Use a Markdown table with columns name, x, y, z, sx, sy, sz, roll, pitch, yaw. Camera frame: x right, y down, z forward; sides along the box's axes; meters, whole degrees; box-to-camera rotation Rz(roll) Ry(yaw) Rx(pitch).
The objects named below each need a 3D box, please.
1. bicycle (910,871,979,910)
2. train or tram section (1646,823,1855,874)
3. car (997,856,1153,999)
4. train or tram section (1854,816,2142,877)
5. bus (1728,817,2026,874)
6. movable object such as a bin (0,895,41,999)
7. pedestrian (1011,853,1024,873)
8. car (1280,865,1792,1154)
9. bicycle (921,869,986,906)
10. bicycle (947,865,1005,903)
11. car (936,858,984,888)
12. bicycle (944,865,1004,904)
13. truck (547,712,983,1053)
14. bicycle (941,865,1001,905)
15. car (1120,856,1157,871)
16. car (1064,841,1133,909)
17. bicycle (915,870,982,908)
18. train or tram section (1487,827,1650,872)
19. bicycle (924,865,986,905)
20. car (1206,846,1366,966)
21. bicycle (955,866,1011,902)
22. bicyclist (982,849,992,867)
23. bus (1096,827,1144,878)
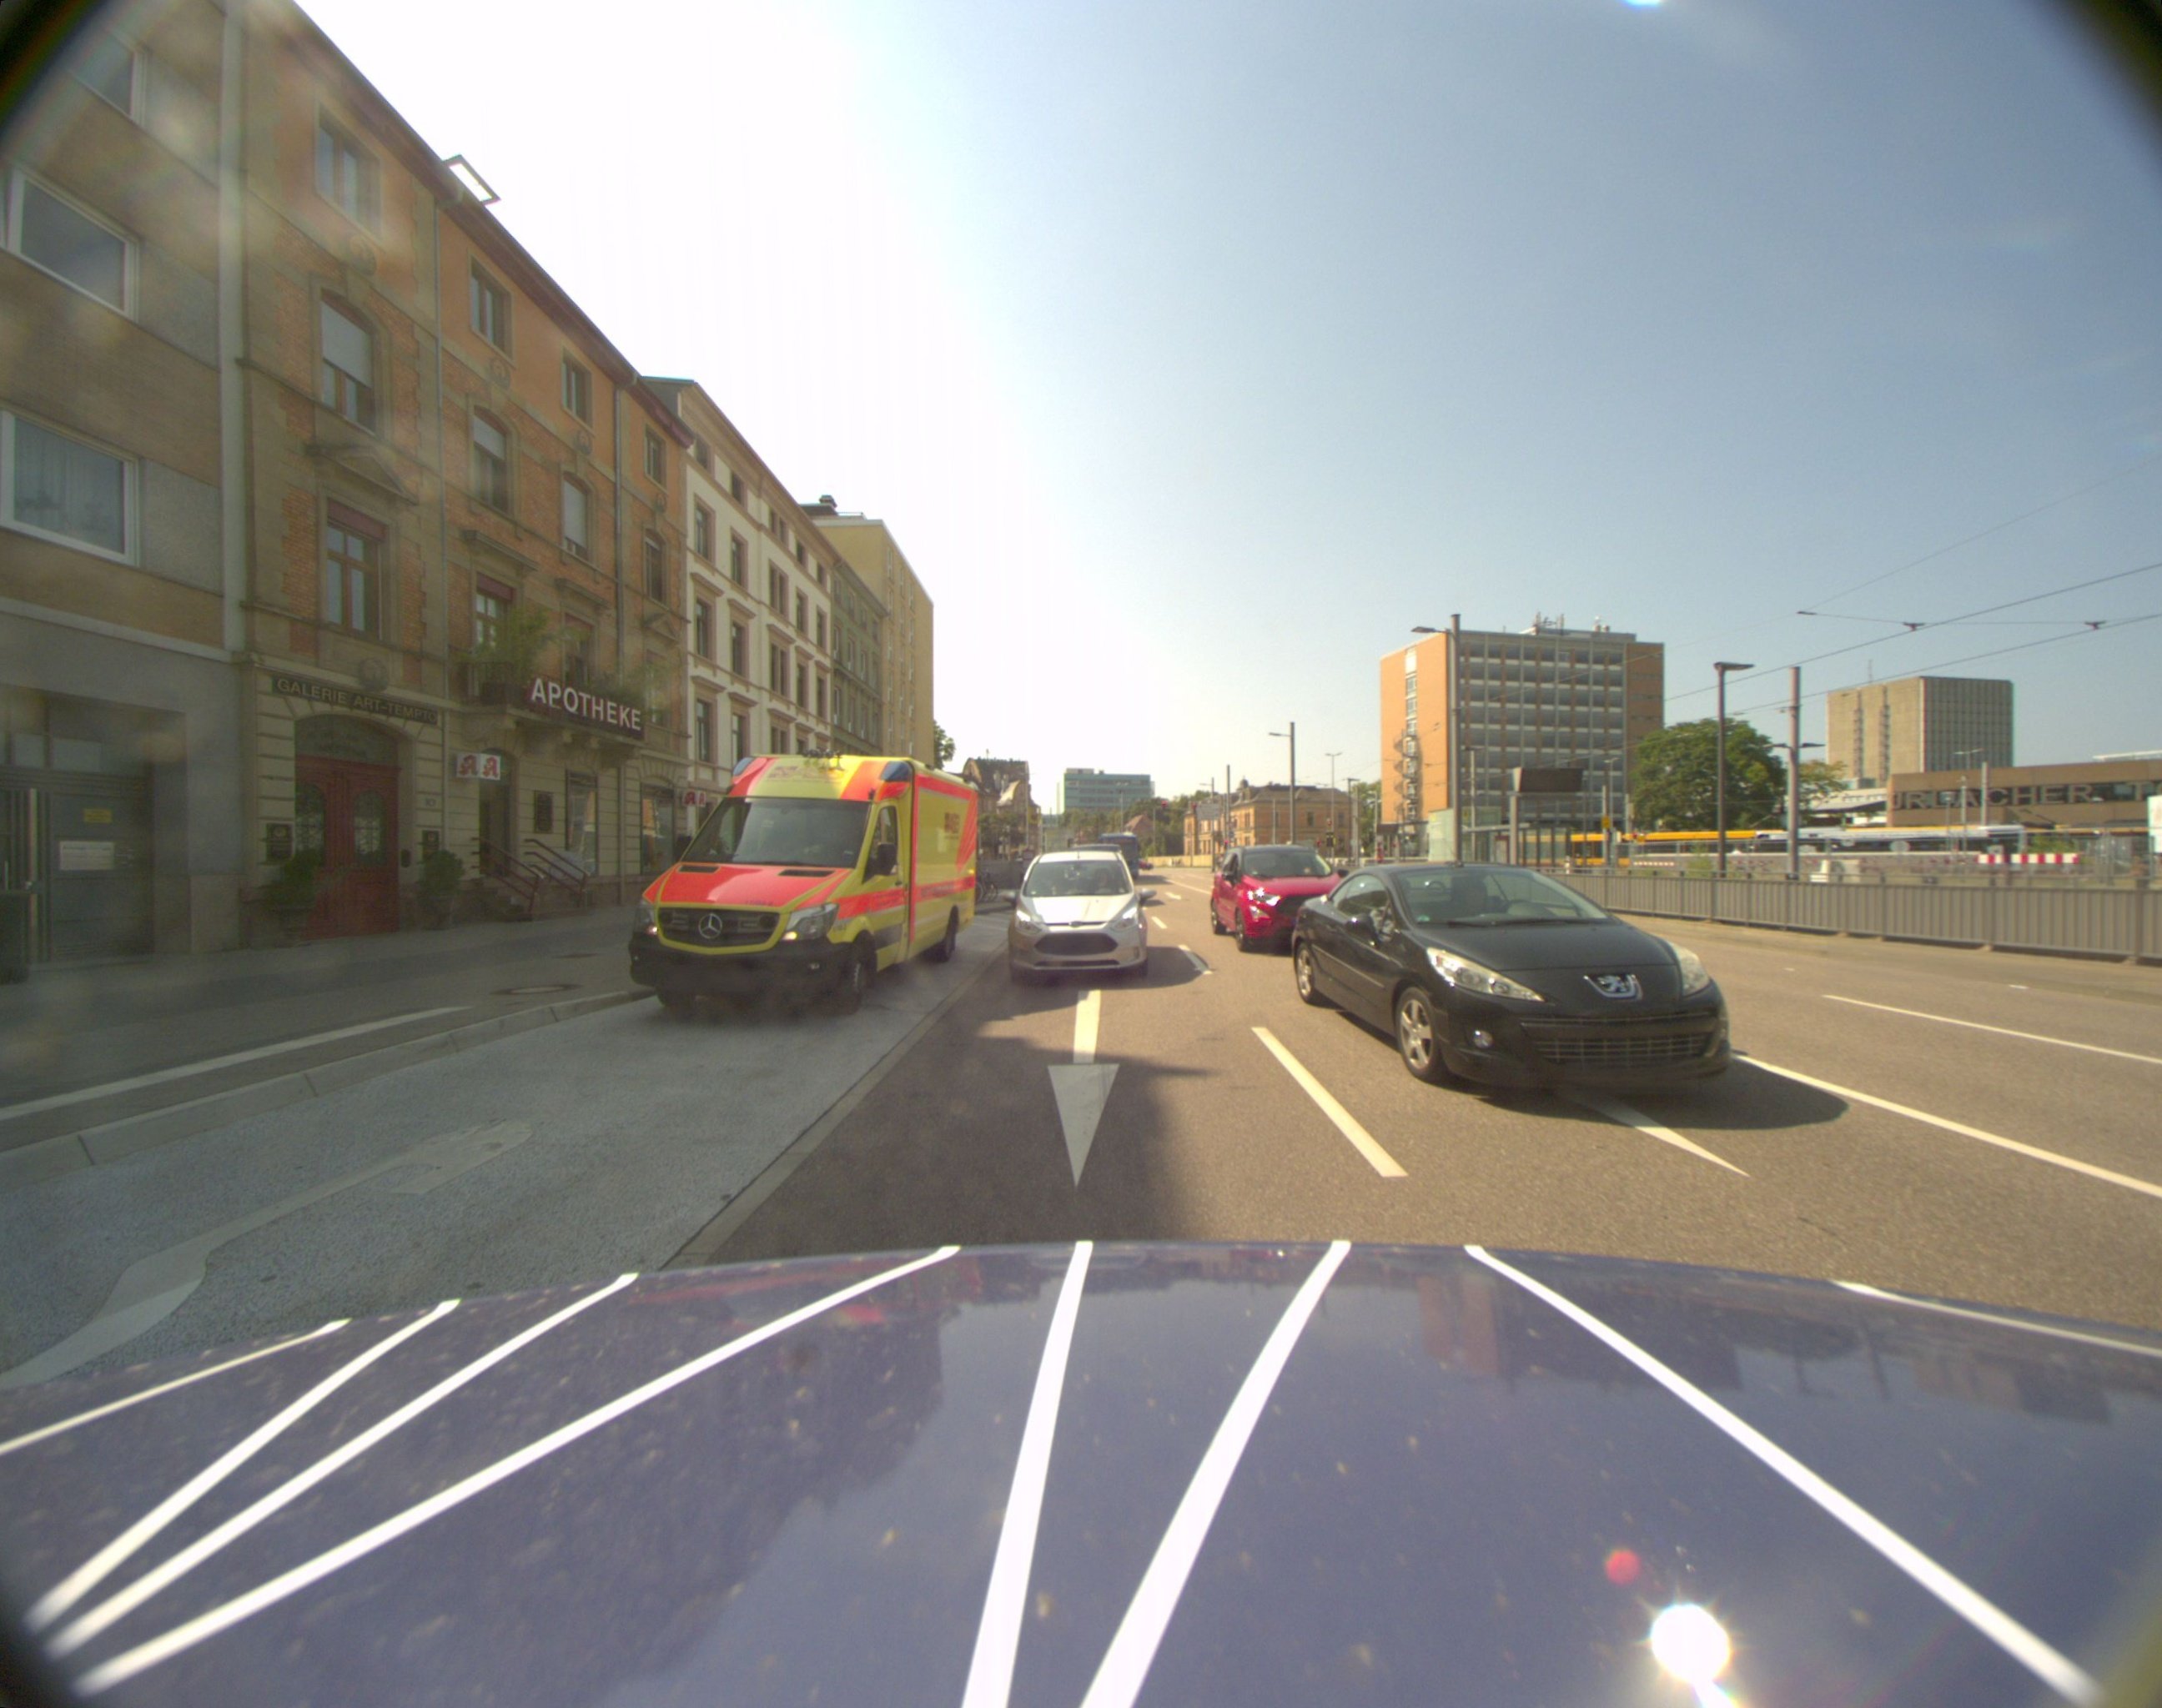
| name | x | y | z | sx | sy | sz | roll | pitch | yaw |
| --- | --- | --- | --- | --- | --- | --- | --- | --- | --- |
| bicycle | -3.975 | 1.052 | 22.165 | 1.841 | 1.047 | 0.657 | -2 | 0 | 1 |
| train or tram section | 52.659 | -0.401 | 60.374 | 12.331 | 3.743 | 2.004 | 0 | 0 | 45 |
| car | -0.029 | 0.838 | 10.603 | 1.728 | 1.579 | 4.000 | -1 | 0 | 1 |
| train or tram section | 61.381 | -0.467 | 51.675 | 12.331 | 3.743 | 2.004 | 0 | 0 | 45 |
| bus | 52.184 | -0.422 | 50.761 | 3.357 | 3.275 | 13.371 | -3 | 0 | -45 |
| movable object such as a bin | -12.031 | 1.010 | 8.213 | 0.648 | 1.098 | 0.727 | 1 | 0 | -25 |
| pedestrian | -5.116 | 0.709 | 61.304 | 0.644 | 1.619 | 0.798 | 1 | 1 | 30 |
| car | 2.888 | 0.850 | 5.893 | 1.692 | 1.405 | 3.801 | -2 | 0 | 0 |
| bicycle | -3.937 | 1.038 | 23.522 | 1.841 | 1.050 | 0.657 | -2 | 0 | 1 |
| bicycle | -3.500 | 0.993 | 25.438 | 1.841 | 1.212 | 0.434 | -2 | 1 | 1 |
| car | -6.251 | 0.955 | 39.611 | 1.666 | 1.418 | 3.934 | 2 | 0 | 2 |
| bicycle | -3.512 | 1.007 | 24.977 | 1.841 | 1.196 | 0.434 | -2 | 1 | 1 |
| truck | -3.053 | 0.207 | 9.447 | 2.333 | 2.754 | 6.340 | 2 | 1 | 4 |
| bicycle | -3.538 | 0.993 | 24.541 | 1.841 | 1.196 | 0.434 | -2 | 1 | 1 |
| car | 7.234 | 1.227 | 95.873 | 4.278 | 1.722 | 1.886 | -2 | 0 | 18 |
| car | 0.560 | 0.619 | 24.927 | 1.998 | 1.953 | 4.815 | -2 | 0 | 1 |
| bicycle | -3.966 | 1.043 | 22.832 | 1.841 | 1.054 | 0.657 | -2 | 0 | 1 |
| train or tram section | 43.928 | -0.377 | 69.080 | 12.331 | 3.743 | 2.004 | 0 | 0 | 45 |
| bicycle | -3.991 | 0.967 | 24.141 | 1.841 | 1.196 | 0.549 | -2 | 1 | 1 |
| car | 3.148 | 0.707 | 12.472 | 1.634 | 1.611 | 3.968 | -2 | 0 | 2 |
| bicycle | -3.411 | 1.044 | 26.517 | 1.841 | 1.196 | 0.637 | -2 | 0 | 2 |
| bicyclist | -8.029 | 0.331 | 64.813 | 0.721 | 1.577 | 1.103 | -1 | 0 | 2 |
| bus | 2.734 | -0.095 | 54.261 | 2.919 | 3.119 | 12.345 | -2 | 0 | 2 |
